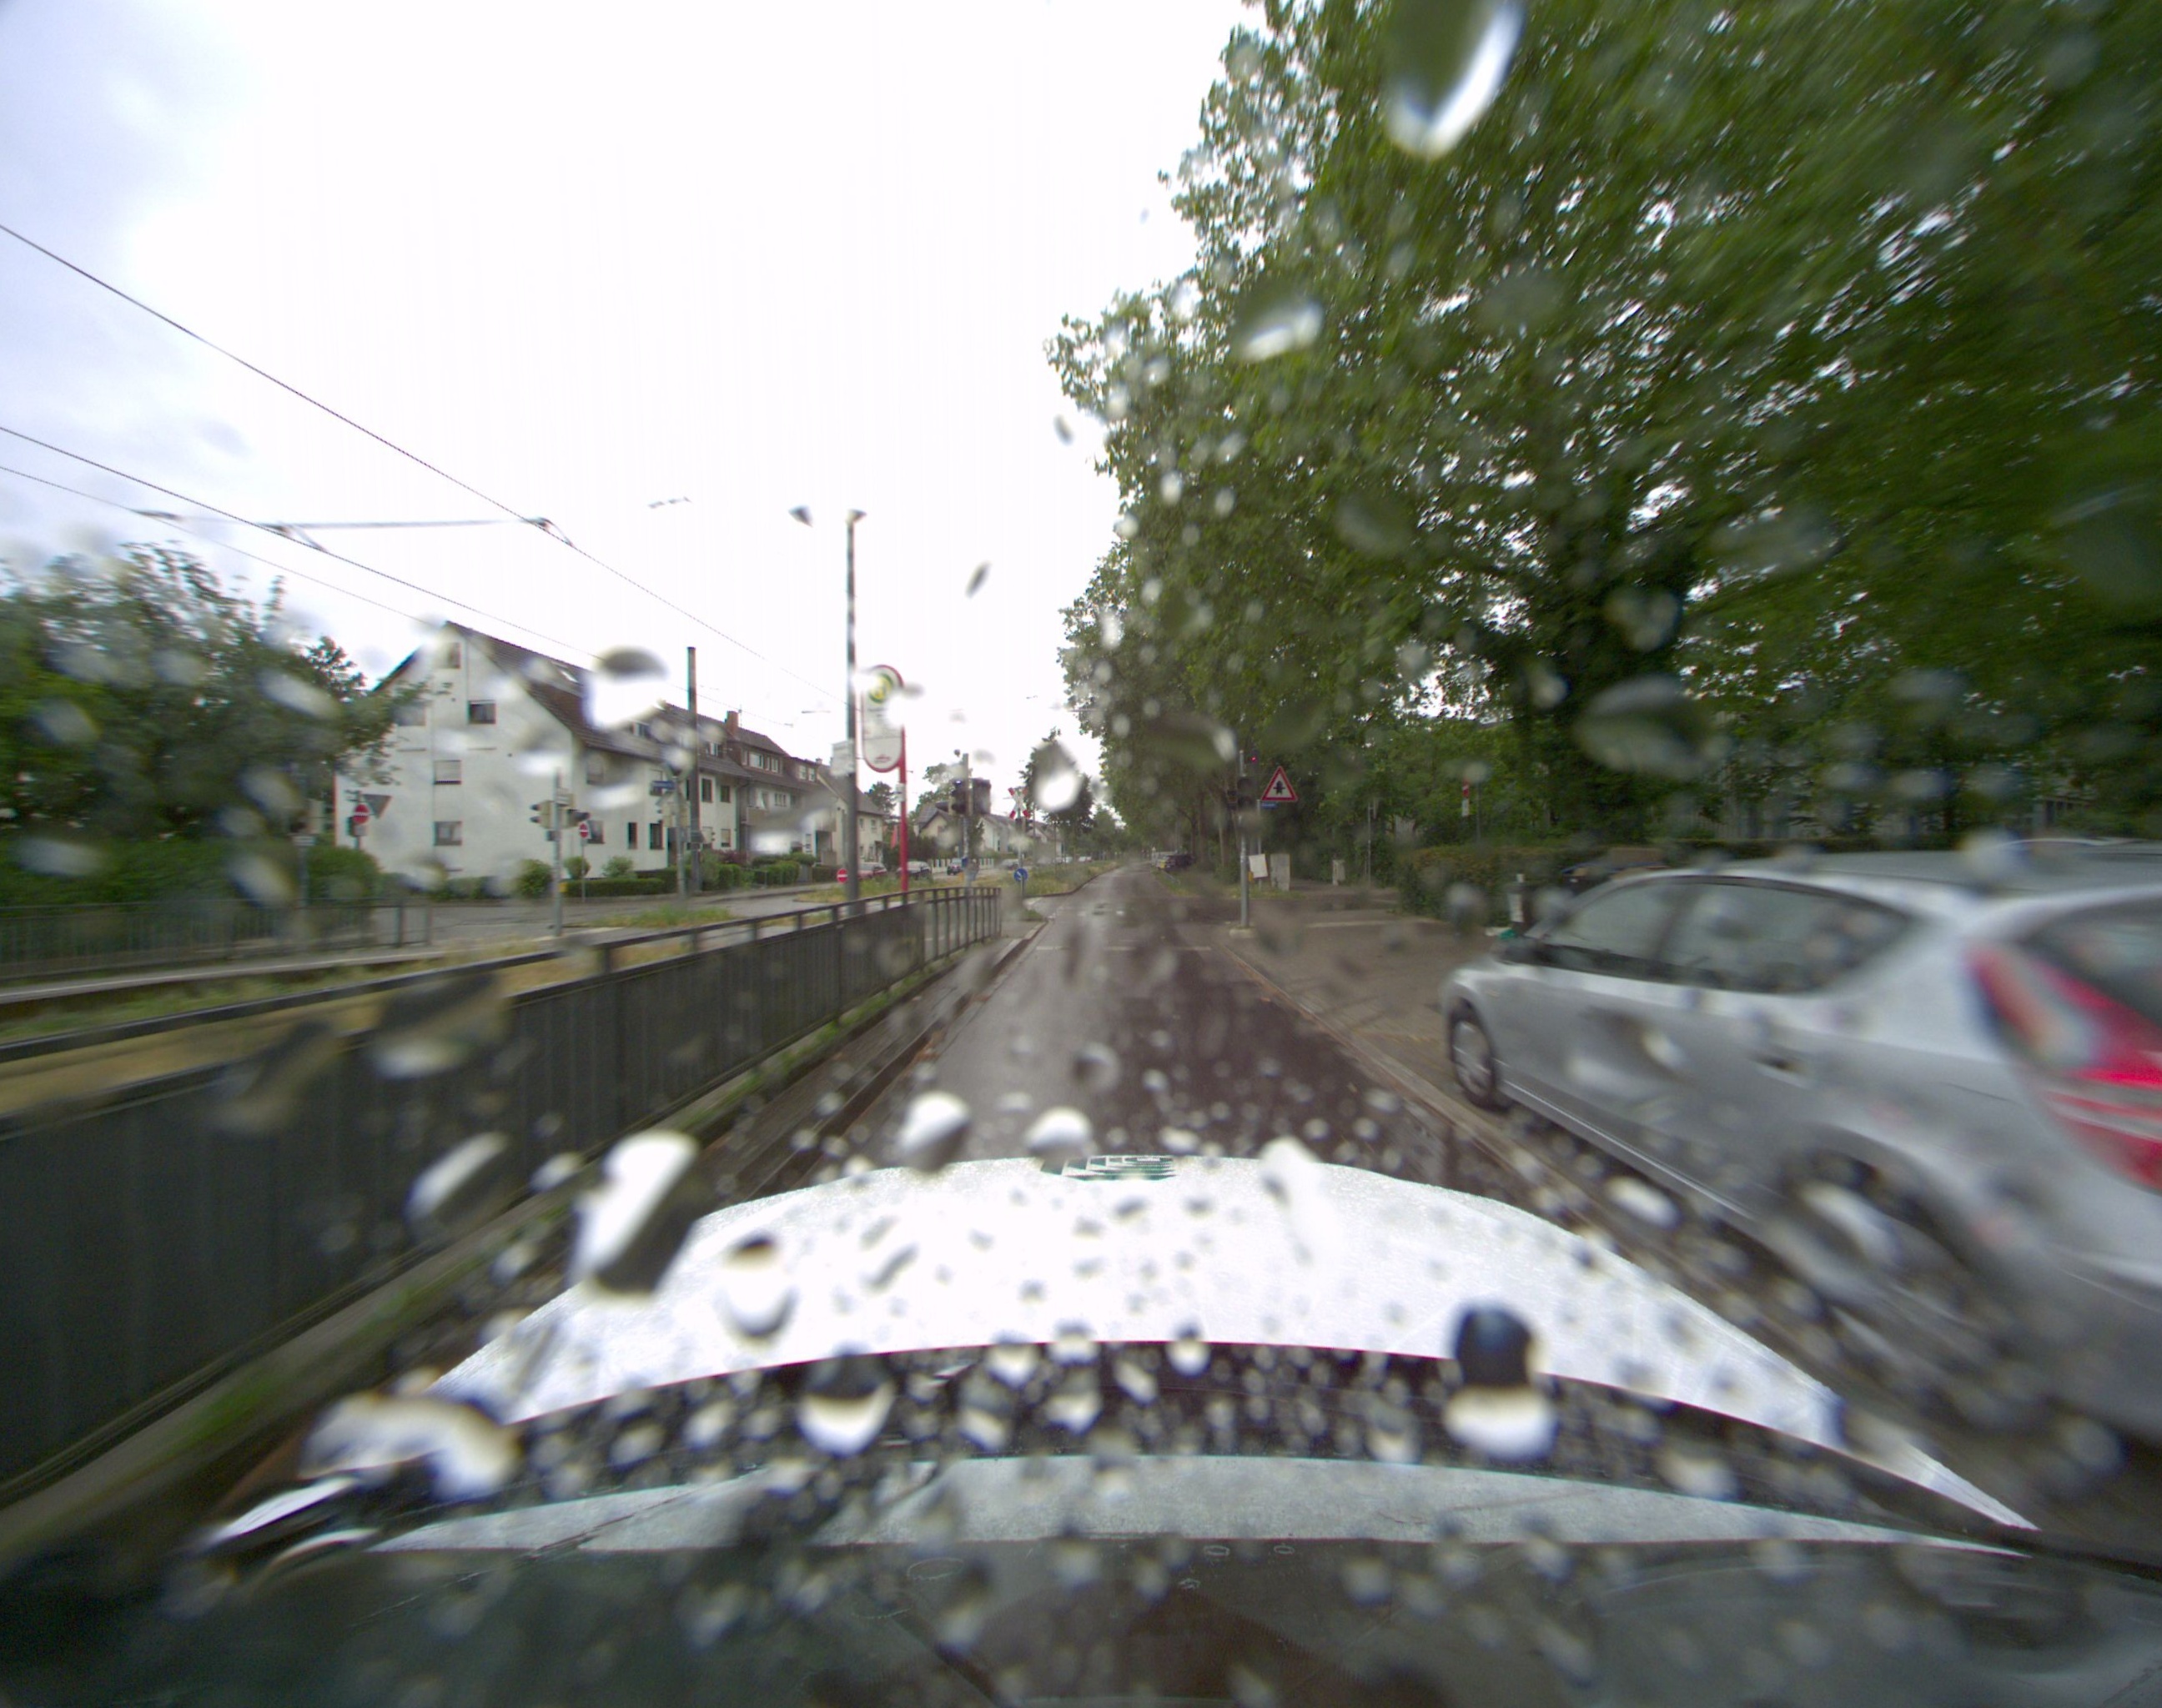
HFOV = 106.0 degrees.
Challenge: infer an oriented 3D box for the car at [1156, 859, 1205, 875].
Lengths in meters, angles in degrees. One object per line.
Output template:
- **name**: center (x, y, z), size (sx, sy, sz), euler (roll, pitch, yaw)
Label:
- **car**: center (9.081, 1.185, 74.576), size (3.991, 1.453, 1.991), euler (0, -1, -13)

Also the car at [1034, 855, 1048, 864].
- **car**: center (-6.877, 0.915, 141.161), size (1.919, 1.486, 4.005), euler (0, -1, 5)

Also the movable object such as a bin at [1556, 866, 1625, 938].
- **movable object such as a bin**: center (7.731, 0.714, 12.388), size (0.534, 1.022, 0.739), euler (-3, -1, 1)

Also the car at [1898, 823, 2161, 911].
- **car**: center (19.204, 0.248, 16.239), size (1.750, 1.540, 3.996), euler (0, -1, -2)

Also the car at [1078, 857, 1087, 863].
- **car**: center (0.406, 1.641, 205.373), size (1.919, 1.486, 4.005), euler (0, -1, 5)

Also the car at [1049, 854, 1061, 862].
- **car**: center (-5.266, 0.863, 163.549), size (1.919, 1.486, 4.005), euler (0, -1, 5)

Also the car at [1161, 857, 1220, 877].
- **car**: center (8.316, 0.995, 62.081), size (3.991, 1.453, 1.991), euler (0, -1, -13)

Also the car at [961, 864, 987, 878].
- **car**: center (-11.369, 1.776, 86.850), size (1.919, 1.486, 4.005), euler (0, -1, 5)

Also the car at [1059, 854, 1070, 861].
- **car**: center (-3.485, 0.854, 175.463), size (1.919, 1.486, 4.005), euler (0, -1, 5)

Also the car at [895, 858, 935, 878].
- **car**: center (-12.845, 1.105, 63.251), size (1.919, 1.486, 4.005), euler (0, -1, 5)

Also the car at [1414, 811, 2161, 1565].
- **car**: center (3.077, 0.651, 3.442), size (1.800, 1.467, 3.795), euler (-4, -1, 2)

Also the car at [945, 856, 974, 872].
- **car**: center (-11.947, 0.999, 80.346), size (1.919, 1.486, 4.005), euler (0, -1, 5)

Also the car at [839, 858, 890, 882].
- **car**: center (-13.833, 1.038, 52.327), size (1.919, 1.486, 4.005), euler (0, -1, 5)

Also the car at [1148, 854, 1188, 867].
- **car**: center (9.611, 0.752, 90.406), size (3.991, 1.453, 1.991), euler (0, -1, -13)

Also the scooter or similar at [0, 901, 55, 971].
- **scooter or similar**: center (-17.573, 1.320, 12.722), size (0.660, 1.071, 1.868), euler (0, -1, 3)

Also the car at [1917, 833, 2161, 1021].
- **car**: center (9.718, 0.543, 6.742), size (3.680, 1.377, 1.762), euler (0, -1, 3)

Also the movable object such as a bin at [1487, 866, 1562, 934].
- **movable object such as a bin**: center (7.068, 0.718, 13.009), size (0.690, 1.022, 0.824), euler (-3, -1, 1)

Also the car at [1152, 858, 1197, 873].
- **car**: center (9.240, 1.102, 80.210), size (3.991, 1.453, 1.991), euler (0, -1, -13)

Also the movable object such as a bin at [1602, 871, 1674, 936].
- **movable object such as a bin**: center (8.326, 0.726, 12.203), size (0.534, 0.899, 0.739), euler (-3, -1, 1)

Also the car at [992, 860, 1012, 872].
- **car**: center (-10.325, 1.558, 106.829), size (1.919, 1.486, 4.005), euler (0, -1, 5)
